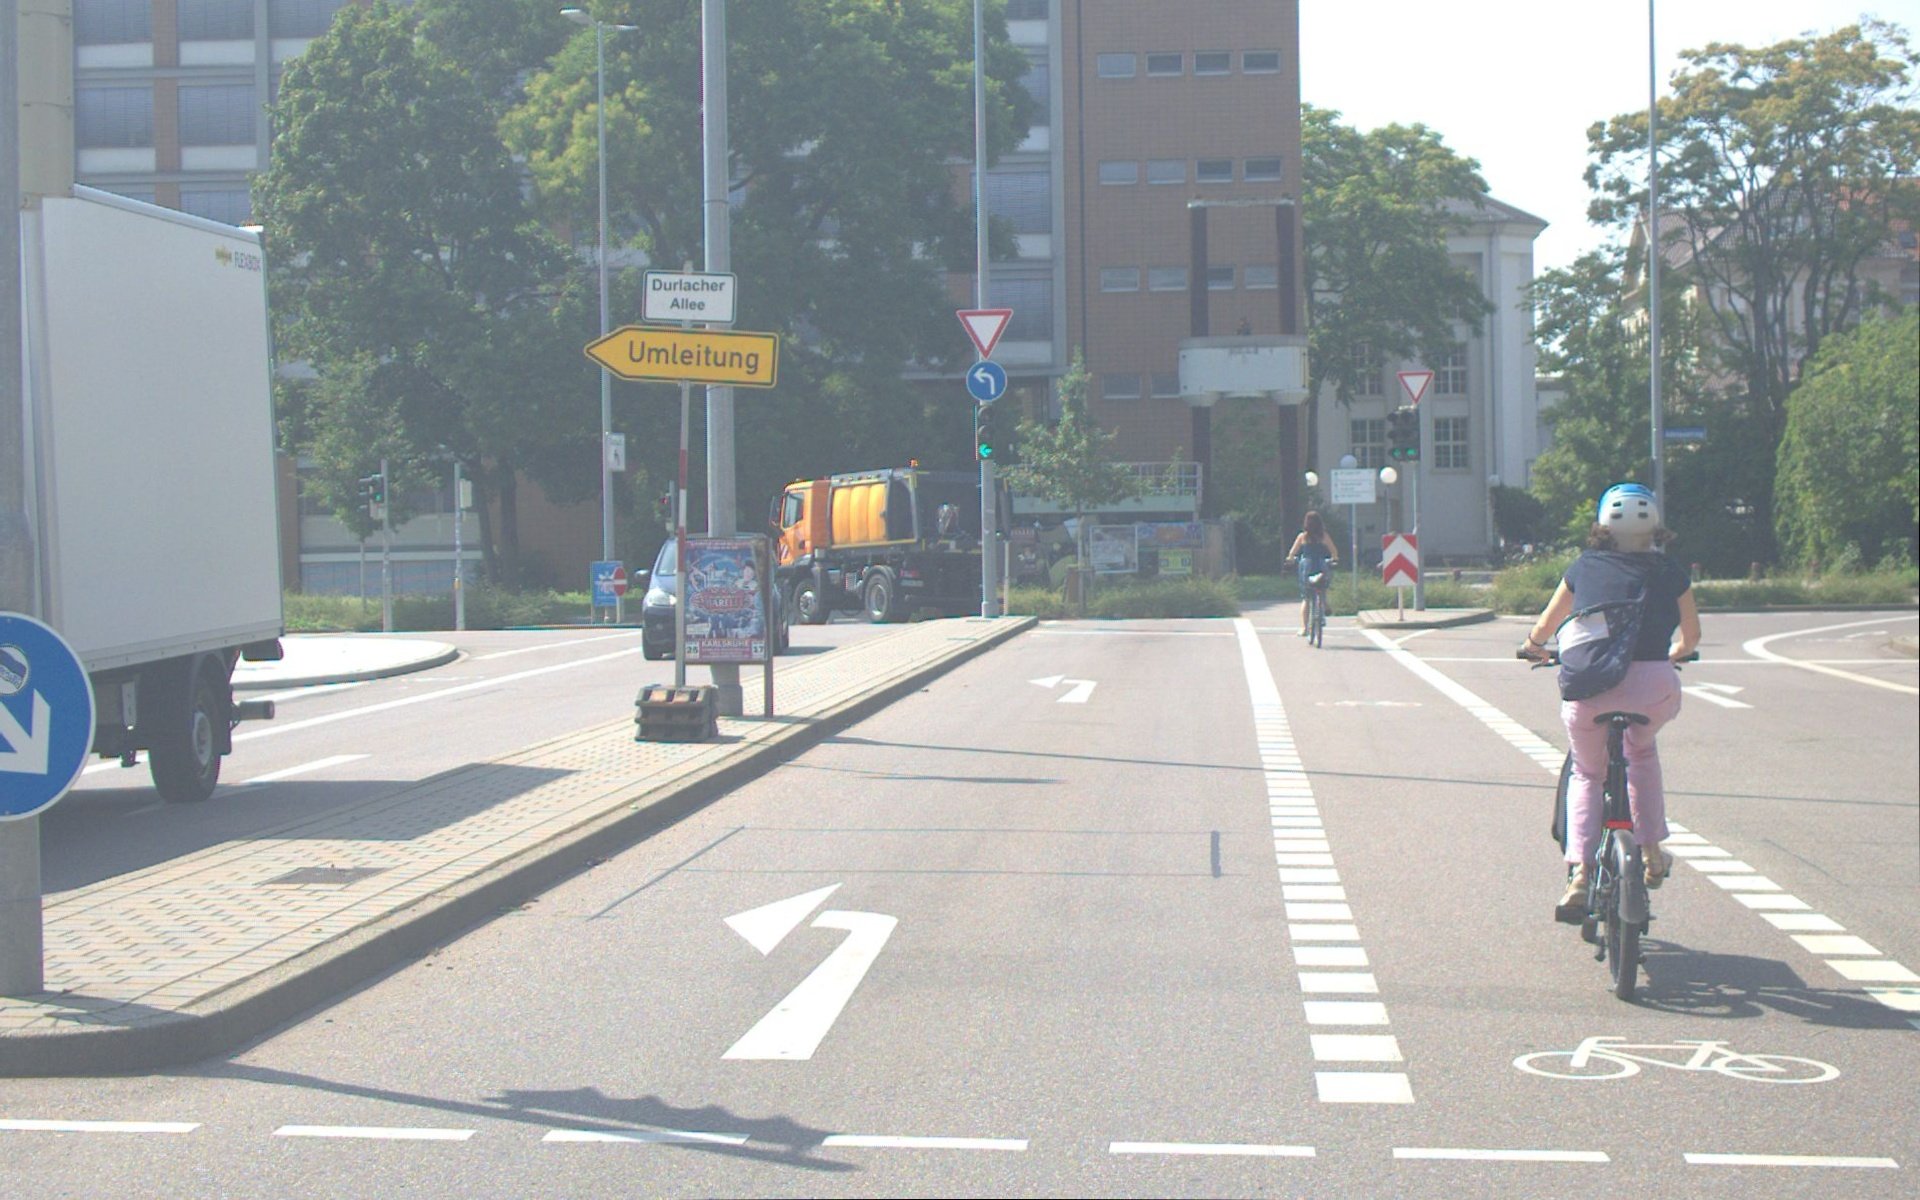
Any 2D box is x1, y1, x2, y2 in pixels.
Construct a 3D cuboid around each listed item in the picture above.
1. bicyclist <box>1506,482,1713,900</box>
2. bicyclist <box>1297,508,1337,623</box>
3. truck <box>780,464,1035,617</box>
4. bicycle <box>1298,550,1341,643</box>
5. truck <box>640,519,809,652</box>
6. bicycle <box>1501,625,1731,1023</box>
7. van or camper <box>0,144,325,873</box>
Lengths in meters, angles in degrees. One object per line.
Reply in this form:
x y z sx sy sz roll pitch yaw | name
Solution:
2.125 0.286 11.308 0.603 1.330 0.659 -1 1 6 | bicyclist
4.460 -0.436 42.940 0.450 1.416 0.496 -1 1 3 | bicyclist
-1.146 -1.203 70.216 2.696 2.979 5.967 -1 1 -29 | truck
4.459 -0.047 42.704 0.444 1.113 1.446 -1 1 3 | bicycle
-2.785 -0.209 41.260 1.555 1.499 3.620 -1 1 3 | truck
2.148 0.694 11.415 0.604 1.159 1.810 -1 1 7 | bicycle
-5.387 -0.444 17.441 2.400 3.295 7.189 -1 1 5 | van or camper
